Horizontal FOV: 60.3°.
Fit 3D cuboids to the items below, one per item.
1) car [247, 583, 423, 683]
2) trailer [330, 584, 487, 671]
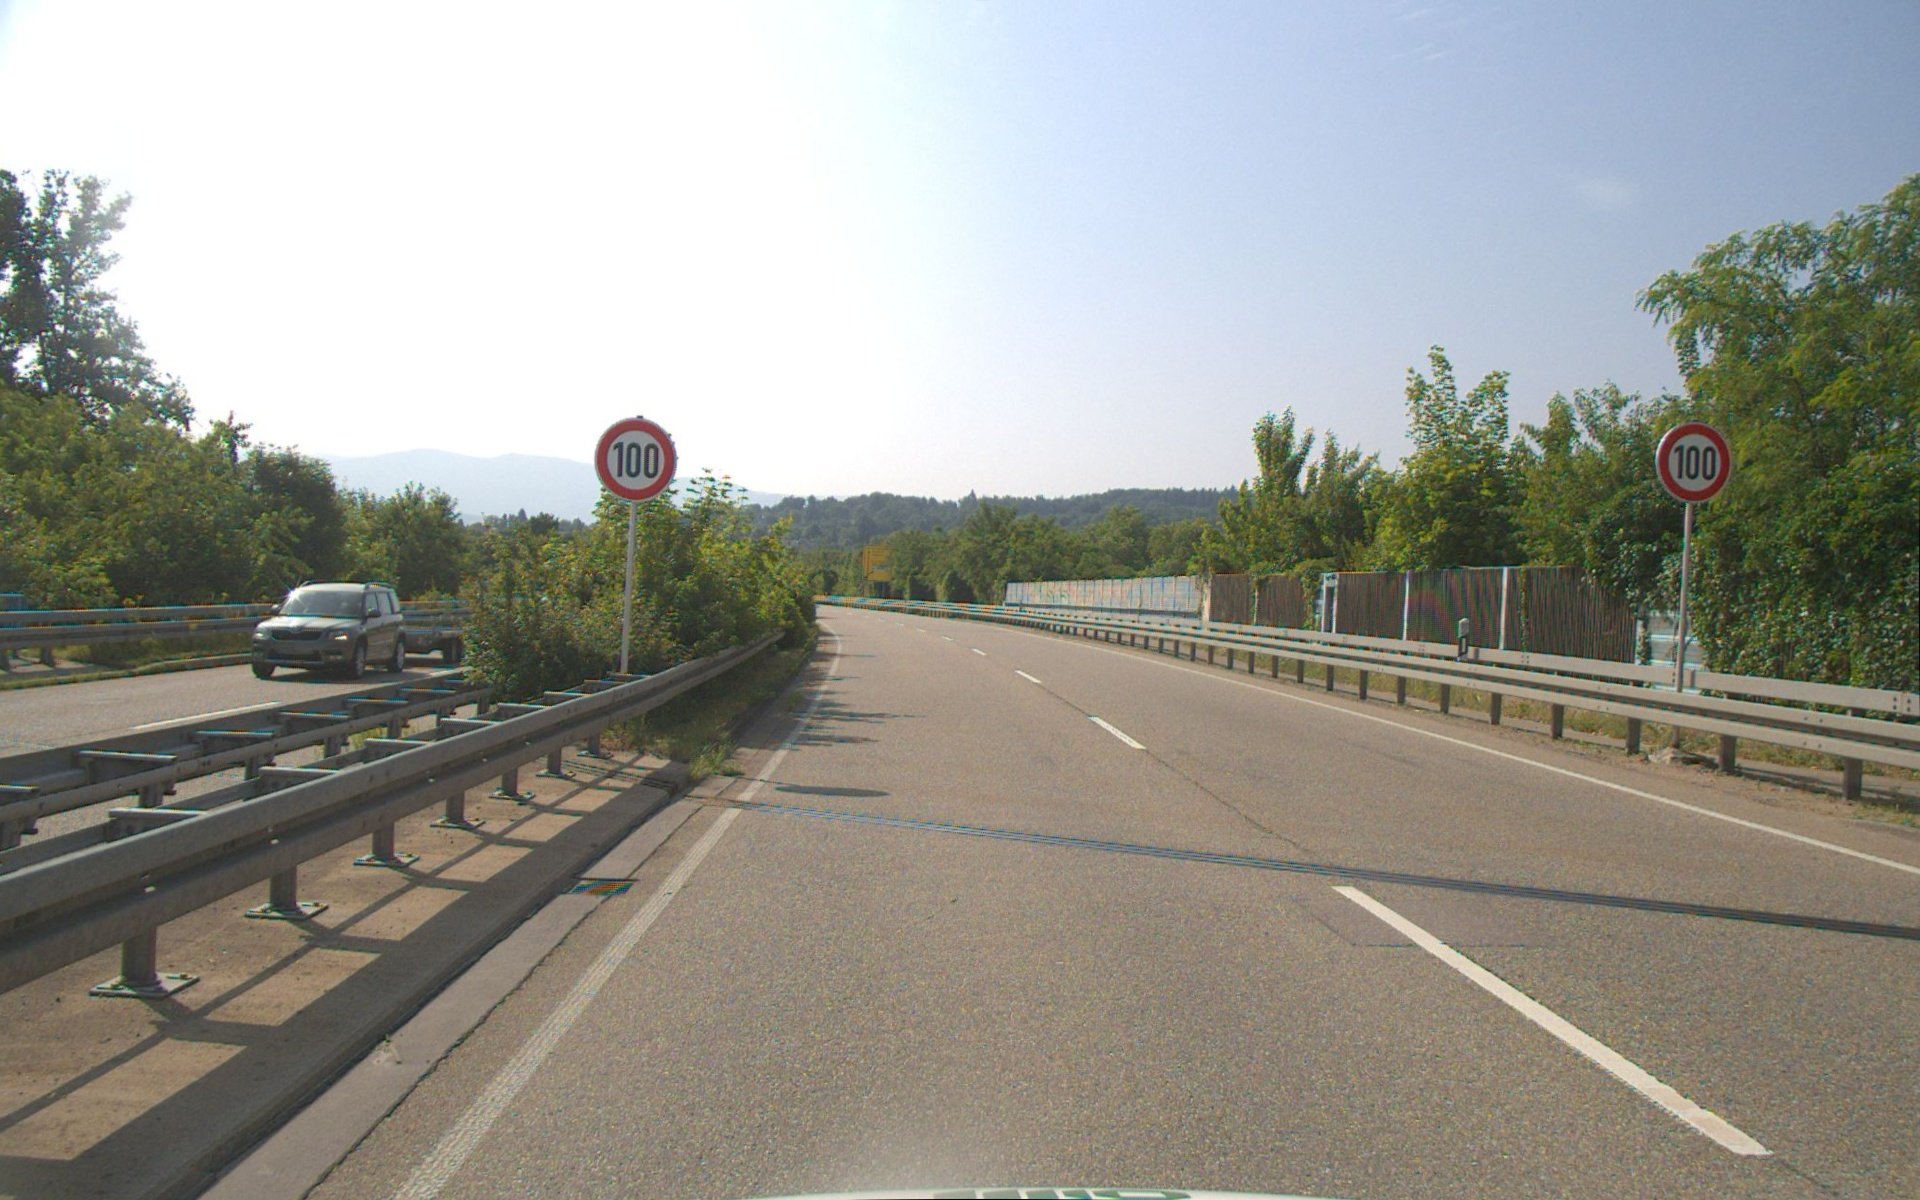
[{"bbox_3d":[-11.147,0.544,29.775,1.689,1.624,3.999,2,0,-2],"label":"car"},{"bbox_3d":[-11.281,0.524,34.179,1.683,1.606,4.811,2,0,-2],"label":"trailer"}]
